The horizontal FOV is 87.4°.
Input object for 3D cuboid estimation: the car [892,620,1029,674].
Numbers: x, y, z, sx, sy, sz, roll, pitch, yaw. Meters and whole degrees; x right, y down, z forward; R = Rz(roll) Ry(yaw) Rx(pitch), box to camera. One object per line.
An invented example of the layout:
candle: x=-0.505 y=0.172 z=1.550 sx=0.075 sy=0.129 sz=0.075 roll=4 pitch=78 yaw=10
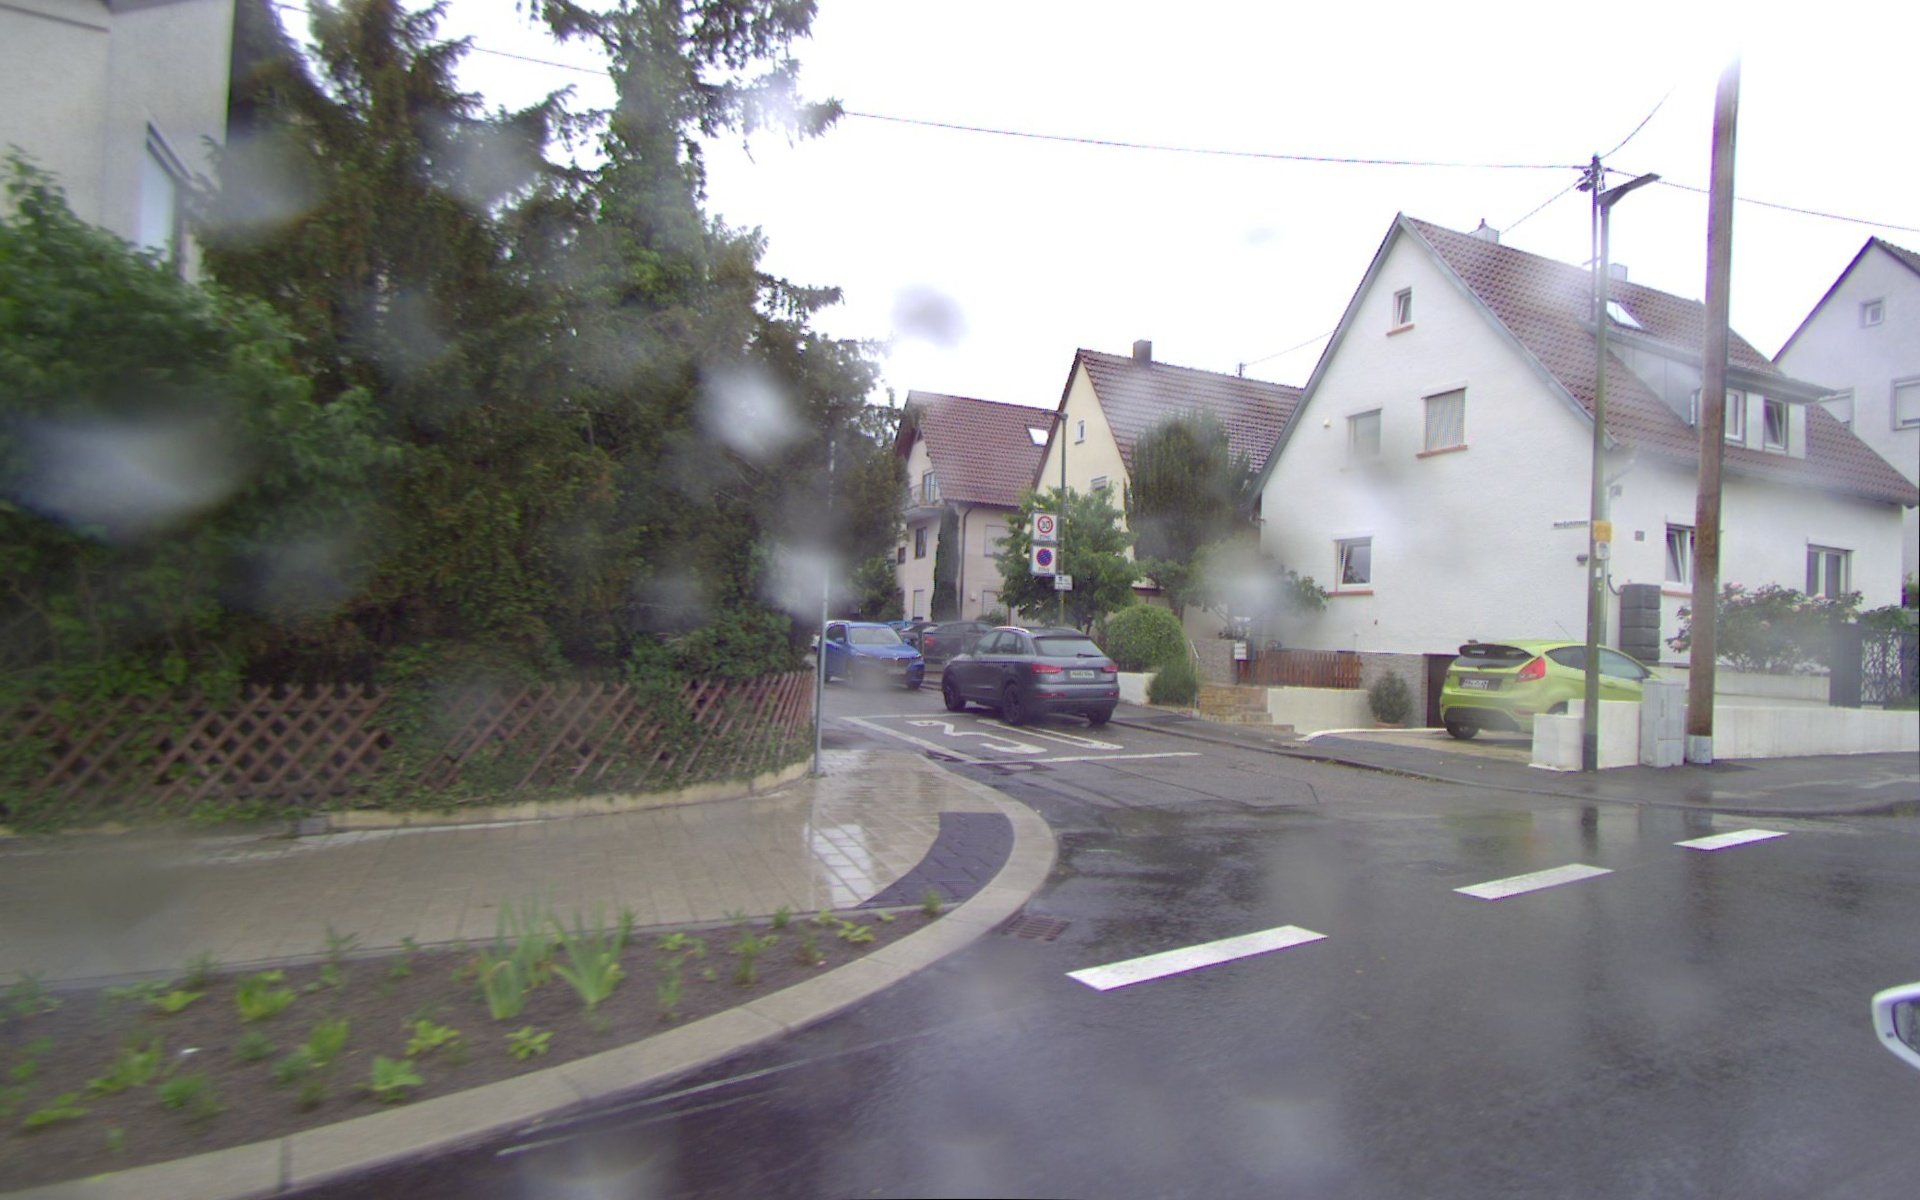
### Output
car: x=0.003 y=1.473 z=31.873 sx=3.876 sy=1.598 sz=2.011 roll=1 pitch=0 yaw=-23

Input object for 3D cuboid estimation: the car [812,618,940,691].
car: x=-2.234 y=1.342 z=25.620 sx=1.901 sy=1.595 sz=3.987 roll=2 pitch=0 yaw=-26

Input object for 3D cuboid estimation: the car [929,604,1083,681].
car: x=1.309 y=1.214 z=28.842 sx=3.878 sy=2.040 sz=2.002 roll=2 pitch=1 yaw=-24

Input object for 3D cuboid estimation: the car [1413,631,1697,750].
car: x=8.453 y=1.272 z=14.316 sx=3.407 sy=1.486 sz=1.775 roll=3 pitch=-2 yaw=-22

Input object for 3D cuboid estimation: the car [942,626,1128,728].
car: x=1.170 y=1.246 z=17.532 sx=1.758 sy=1.486 sz=3.836 roll=1 pitch=0 yaw=-21

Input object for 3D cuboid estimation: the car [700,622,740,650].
car: x=-15.921 y=2.409 z=66.547 sx=1.971 sy=1.739 sz=3.980 roll=2 pitch=-3 yaw=-22
